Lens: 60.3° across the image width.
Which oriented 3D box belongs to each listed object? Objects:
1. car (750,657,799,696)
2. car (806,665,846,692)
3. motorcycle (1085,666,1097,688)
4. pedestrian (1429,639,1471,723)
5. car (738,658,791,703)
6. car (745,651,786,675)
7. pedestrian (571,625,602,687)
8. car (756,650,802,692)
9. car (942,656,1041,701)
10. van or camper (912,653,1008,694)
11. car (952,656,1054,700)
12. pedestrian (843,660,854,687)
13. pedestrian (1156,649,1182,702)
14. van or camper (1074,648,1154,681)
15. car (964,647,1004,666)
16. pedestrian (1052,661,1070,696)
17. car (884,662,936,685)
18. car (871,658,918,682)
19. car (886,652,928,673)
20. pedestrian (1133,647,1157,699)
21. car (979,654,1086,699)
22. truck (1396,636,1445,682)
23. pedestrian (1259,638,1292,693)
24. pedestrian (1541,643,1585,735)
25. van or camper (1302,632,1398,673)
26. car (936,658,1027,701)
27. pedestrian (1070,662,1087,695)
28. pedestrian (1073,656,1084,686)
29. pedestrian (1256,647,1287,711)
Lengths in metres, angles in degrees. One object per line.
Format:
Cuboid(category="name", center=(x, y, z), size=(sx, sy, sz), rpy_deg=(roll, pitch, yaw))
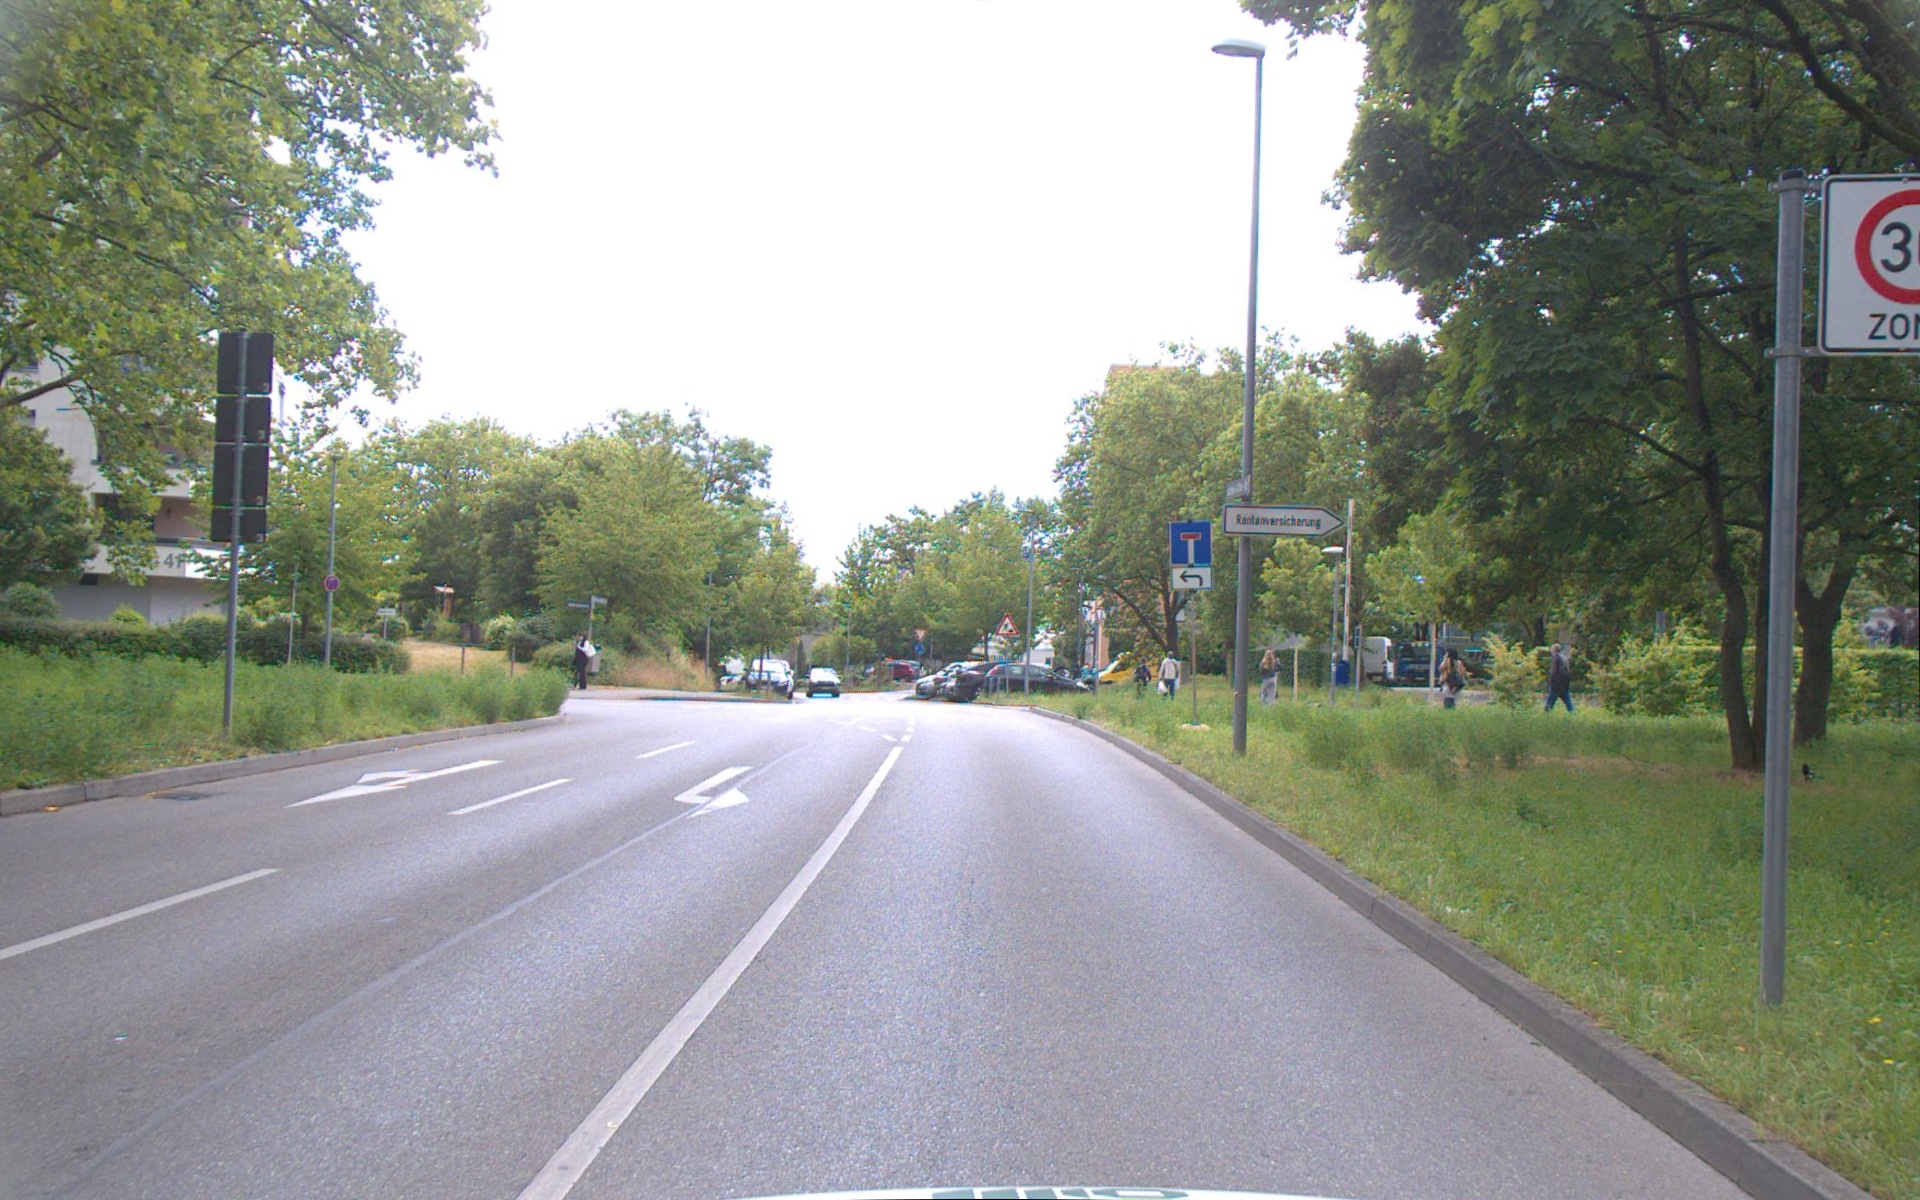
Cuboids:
Cuboid(category="car", center=(-7.551, 3.095, 67.723), size=(1.730, 1.527, 3.932), rpy_deg=(1, -2, -3))
Cuboid(category="car", center=(-7.785, 4.519, 95.640), size=(1.938, 1.489, 3.925), rpy_deg=(1, -2, -10))
Cuboid(category="motorcycle", center=(5.253, 3.074, 66.407), size=(0.443, 0.808, 1.264), rpy_deg=(1, 0, 4))
Cuboid(category="pedestrian", center=(10.600, 1.737, 35.775), size=(0.758, 1.753, 0.824), rpy_deg=(2, 0, 11))
Cuboid(category="car", center=(-7.364, 3.026, 62.622), size=(1.730, 1.527, 3.932), rpy_deg=(1, -1, -3))
Cuboid(category="car", center=(-11.896, 3.872, 101.169), size=(1.192, 1.361, 2.568), rpy_deg=(4, -3, -40))
Cuboid(category="pedestrian", center=(-10.825, 1.626, 47.971), size=(0.806, 1.753, 0.775), rpy_deg=(2, 0, -12))
Cuboid(category="car", center=(-8.008, 3.134, 73.420), size=(1.730, 1.784, 3.932), rpy_deg=(1, -2, -3))
Cuboid(category="car", center=(1.234, 3.128, 65.801), size=(3.841, 1.659, 1.771), rpy_deg=(1, -4, 0))
Cuboid(category="van or camper", center=(-0.023, 3.647, 82.386), size=(4.584, 1.903, 1.768), rpy_deg=(1, 0, -8))
Cuboid(category="car", center=(1.624, 2.982, 63.080), size=(3.841, 1.527, 1.771), rpy_deg=(1, -4, 0))
Cuboid(category="pedestrian", center=(-7.985, 5.254, 118.164), size=(0.708, 1.897, 0.649), rpy_deg=(1, 0, -11))
Cuboid(category="pedestrian", center=(7.150, 2.570, 56.593), size=(0.784, 1.753, 0.824), rpy_deg=(2, 0, 5))
Cuboid(category="van or camper", center=(10.541, 4.431, 113.414), size=(5.189, 2.077, 2.059), rpy_deg=(1, 0, -5))
Cuboid(category="car", center=(2.276, 5.384, 158.545), size=(3.487, 1.683, 1.612), rpy_deg=(3, -2, -20))
Cuboid(category="pedestrian", center=(4.484, 3.483, 73.506), size=(0.676, 1.530, 0.753), rpy_deg=(2, -2, 0))
Cuboid(category="car", center=(-3.688, 5.409, 121.843), size=(3.487, 1.591, 1.612), rpy_deg=(3, -2, -20))
Cuboid(category="car", center=(-5.142, 5.462, 128.715), size=(3.473, 1.683, 1.618), rpy_deg=(2, -2, -8))
Cuboid(category="car", center=(-4.580, 5.427, 143.709), size=(3.466, 1.683, 1.622), rpy_deg=(2, -2, 3))
Cuboid(category="pedestrian", center=(6.471, 2.551, 57.873), size=(0.758, 1.753, 0.824), rpy_deg=(2, 0, 8))
Cuboid(category="car", center=(2.646, 2.822, 60.853), size=(3.841, 1.494, 1.771), rpy_deg=(1, -4, 0))
Cuboid(category="truck", center=(25.525, 3.222, 91.486), size=(2.278, 2.336, 5.897), rpy_deg=(2, 0, 18))
Cuboid(category="pedestrian", center=(10.242, 2.124, 53.737), size=(0.760, 1.724, 0.821), rpy_deg=(1, 0, 32))
Cuboid(category="pedestrian", center=(11.969, 1.760, 32.842), size=(0.758, 1.753, 0.823), rpy_deg=(2, 0, 19))
Cuboid(category="van or camper", center=(20.378, 2.732, 86.506), size=(4.585, 1.948, 1.768), rpy_deg=(1, 0, 30))
Cuboid(category="car", center=(0.922, 3.400, 70.882), size=(3.841, 1.659, 1.771), rpy_deg=(1, 0, 0))
Cuboid(category="pedestrian", center=(5.266, 3.493, 73.551), size=(0.676, 1.449, 0.753), rpy_deg=(2, -2, 0))
Cuboid(category="pedestrian", center=(4.765, 2.869, 66.633), size=(0.387, 1.172, 0.485), rpy_deg=(2, 0, 3))
Cuboid(category="pedestrian", center=(8.193, 2.074, 43.480), size=(0.758, 1.624, 0.824), rpy_deg=(1, 0, 10))
